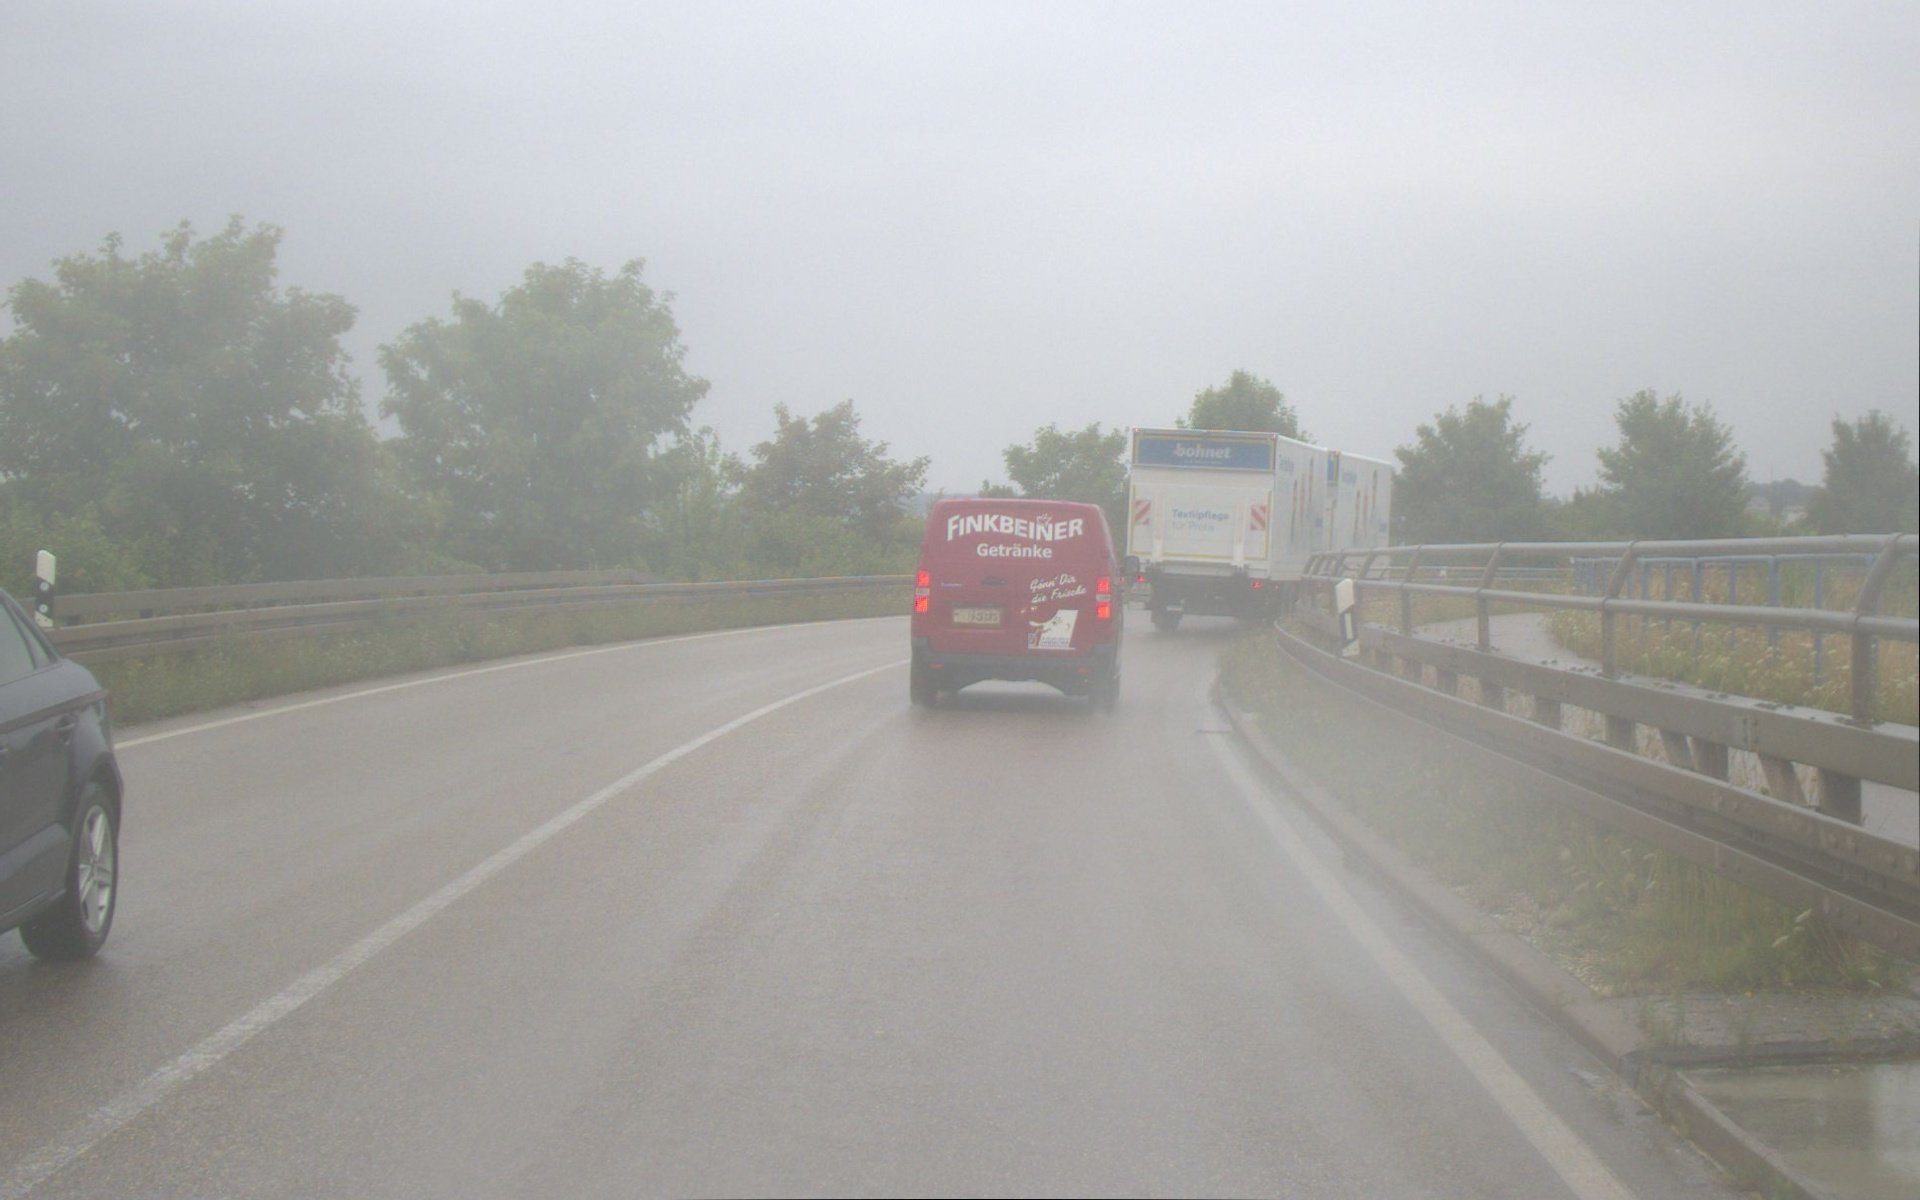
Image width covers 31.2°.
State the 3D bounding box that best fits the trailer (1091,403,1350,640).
[{"bbox_3d":[4.920,-1.391,63.079,3.203,3.908,8.734,3,1,13],"label":"trailer"}]

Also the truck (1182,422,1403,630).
[{"bbox_3d":[7.040,-1.496,71.571,3.203,3.908,8.734,3,1,13],"label":"truck"}]

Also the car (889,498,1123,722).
[{"bbox_3d":[0.501,0.039,32.188,1.994,1.919,4.143,1,1,3],"label":"car"}]

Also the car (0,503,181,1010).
[{"bbox_3d":[-3.834,0.482,10.328,1.839,1.532,4.069,0,1,3],"label":"car"}]
